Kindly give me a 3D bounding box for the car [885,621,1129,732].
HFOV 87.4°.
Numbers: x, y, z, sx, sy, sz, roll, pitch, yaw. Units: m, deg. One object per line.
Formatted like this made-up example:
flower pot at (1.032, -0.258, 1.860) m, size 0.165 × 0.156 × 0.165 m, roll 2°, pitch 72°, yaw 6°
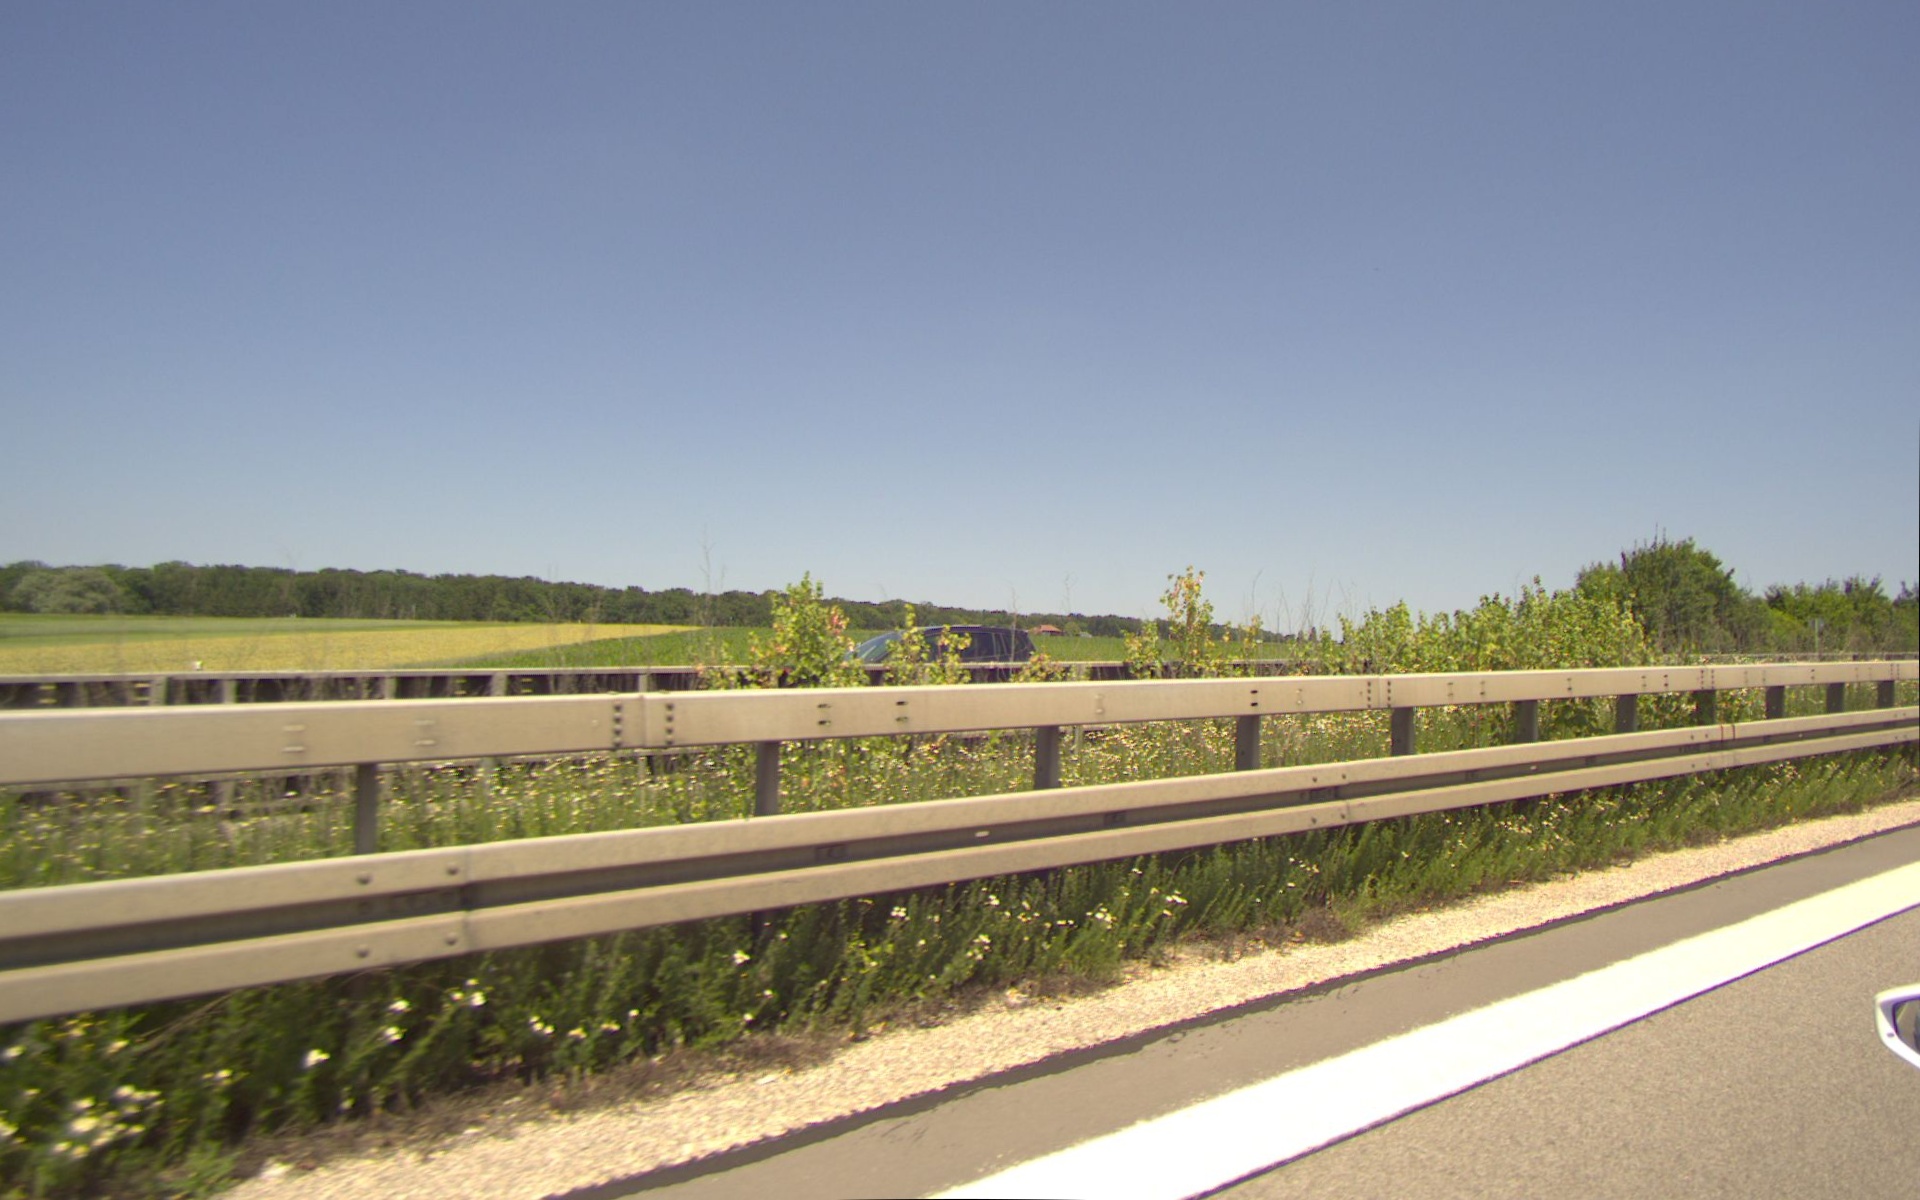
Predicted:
car at (0.862, 1.306, 17.814) m, size 3.953 × 1.715 × 1.814 m, roll 2°, pitch 0°, yaw -30°
